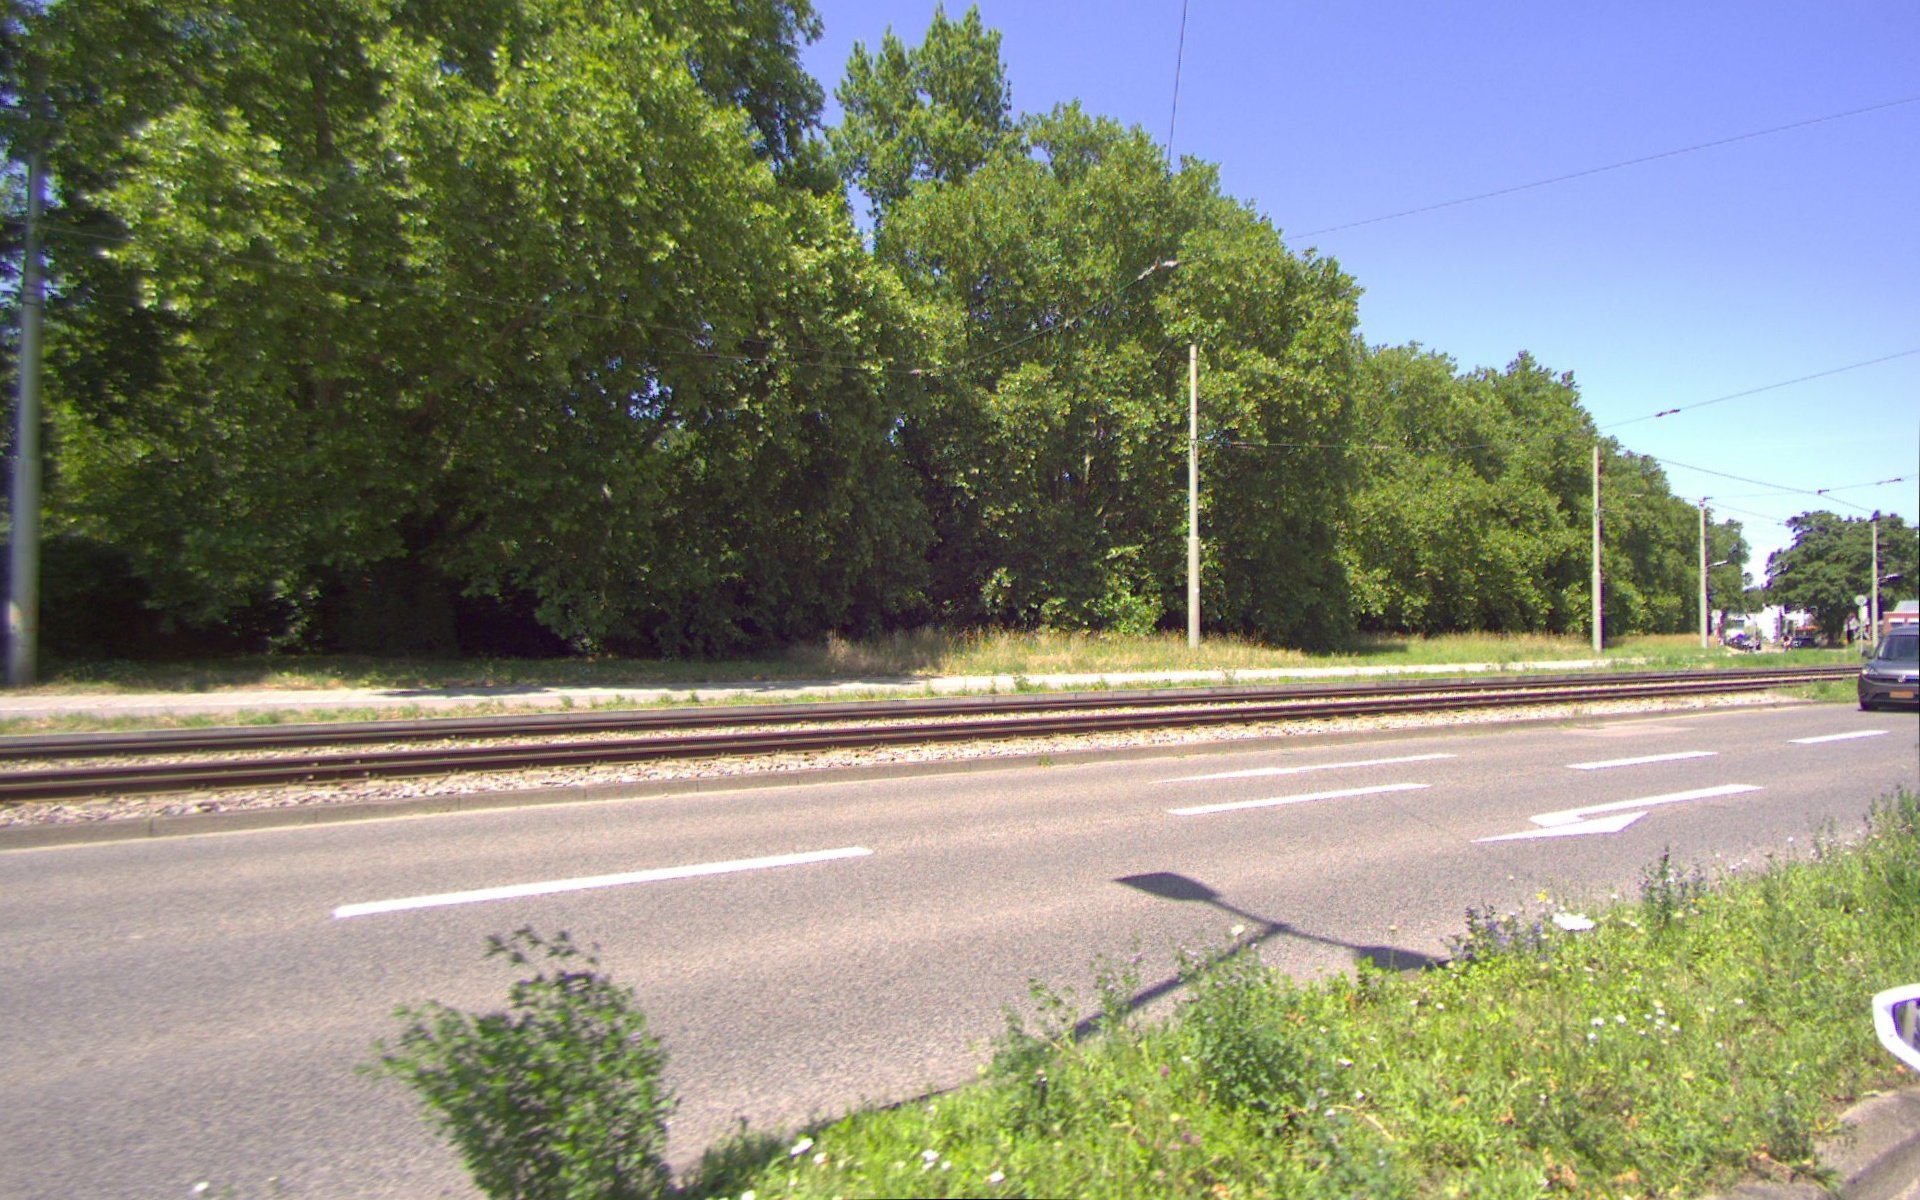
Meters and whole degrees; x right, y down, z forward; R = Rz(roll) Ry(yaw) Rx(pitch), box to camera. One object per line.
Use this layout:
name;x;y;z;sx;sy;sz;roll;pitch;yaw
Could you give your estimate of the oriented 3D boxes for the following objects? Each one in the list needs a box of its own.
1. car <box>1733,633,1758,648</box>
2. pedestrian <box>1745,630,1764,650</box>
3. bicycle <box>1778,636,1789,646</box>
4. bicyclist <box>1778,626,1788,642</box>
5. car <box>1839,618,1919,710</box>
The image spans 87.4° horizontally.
car;86.304;4.429;110.374;1.967;1.486;3.987;0;-1;35
pedestrian;72.163;3.631;91.257;1.245;1.724;0.518;1;-1;11
bicycle;72.560;3.596;88.495;1.553;0.913;0.503;2;-1;-40
bicyclist;72.405;2.987;88.363;0.675;1.353;0.503;1;-1;-40
car;20.880;1.334;21.537;4.563;1.825;1.820;1;-3;-32
